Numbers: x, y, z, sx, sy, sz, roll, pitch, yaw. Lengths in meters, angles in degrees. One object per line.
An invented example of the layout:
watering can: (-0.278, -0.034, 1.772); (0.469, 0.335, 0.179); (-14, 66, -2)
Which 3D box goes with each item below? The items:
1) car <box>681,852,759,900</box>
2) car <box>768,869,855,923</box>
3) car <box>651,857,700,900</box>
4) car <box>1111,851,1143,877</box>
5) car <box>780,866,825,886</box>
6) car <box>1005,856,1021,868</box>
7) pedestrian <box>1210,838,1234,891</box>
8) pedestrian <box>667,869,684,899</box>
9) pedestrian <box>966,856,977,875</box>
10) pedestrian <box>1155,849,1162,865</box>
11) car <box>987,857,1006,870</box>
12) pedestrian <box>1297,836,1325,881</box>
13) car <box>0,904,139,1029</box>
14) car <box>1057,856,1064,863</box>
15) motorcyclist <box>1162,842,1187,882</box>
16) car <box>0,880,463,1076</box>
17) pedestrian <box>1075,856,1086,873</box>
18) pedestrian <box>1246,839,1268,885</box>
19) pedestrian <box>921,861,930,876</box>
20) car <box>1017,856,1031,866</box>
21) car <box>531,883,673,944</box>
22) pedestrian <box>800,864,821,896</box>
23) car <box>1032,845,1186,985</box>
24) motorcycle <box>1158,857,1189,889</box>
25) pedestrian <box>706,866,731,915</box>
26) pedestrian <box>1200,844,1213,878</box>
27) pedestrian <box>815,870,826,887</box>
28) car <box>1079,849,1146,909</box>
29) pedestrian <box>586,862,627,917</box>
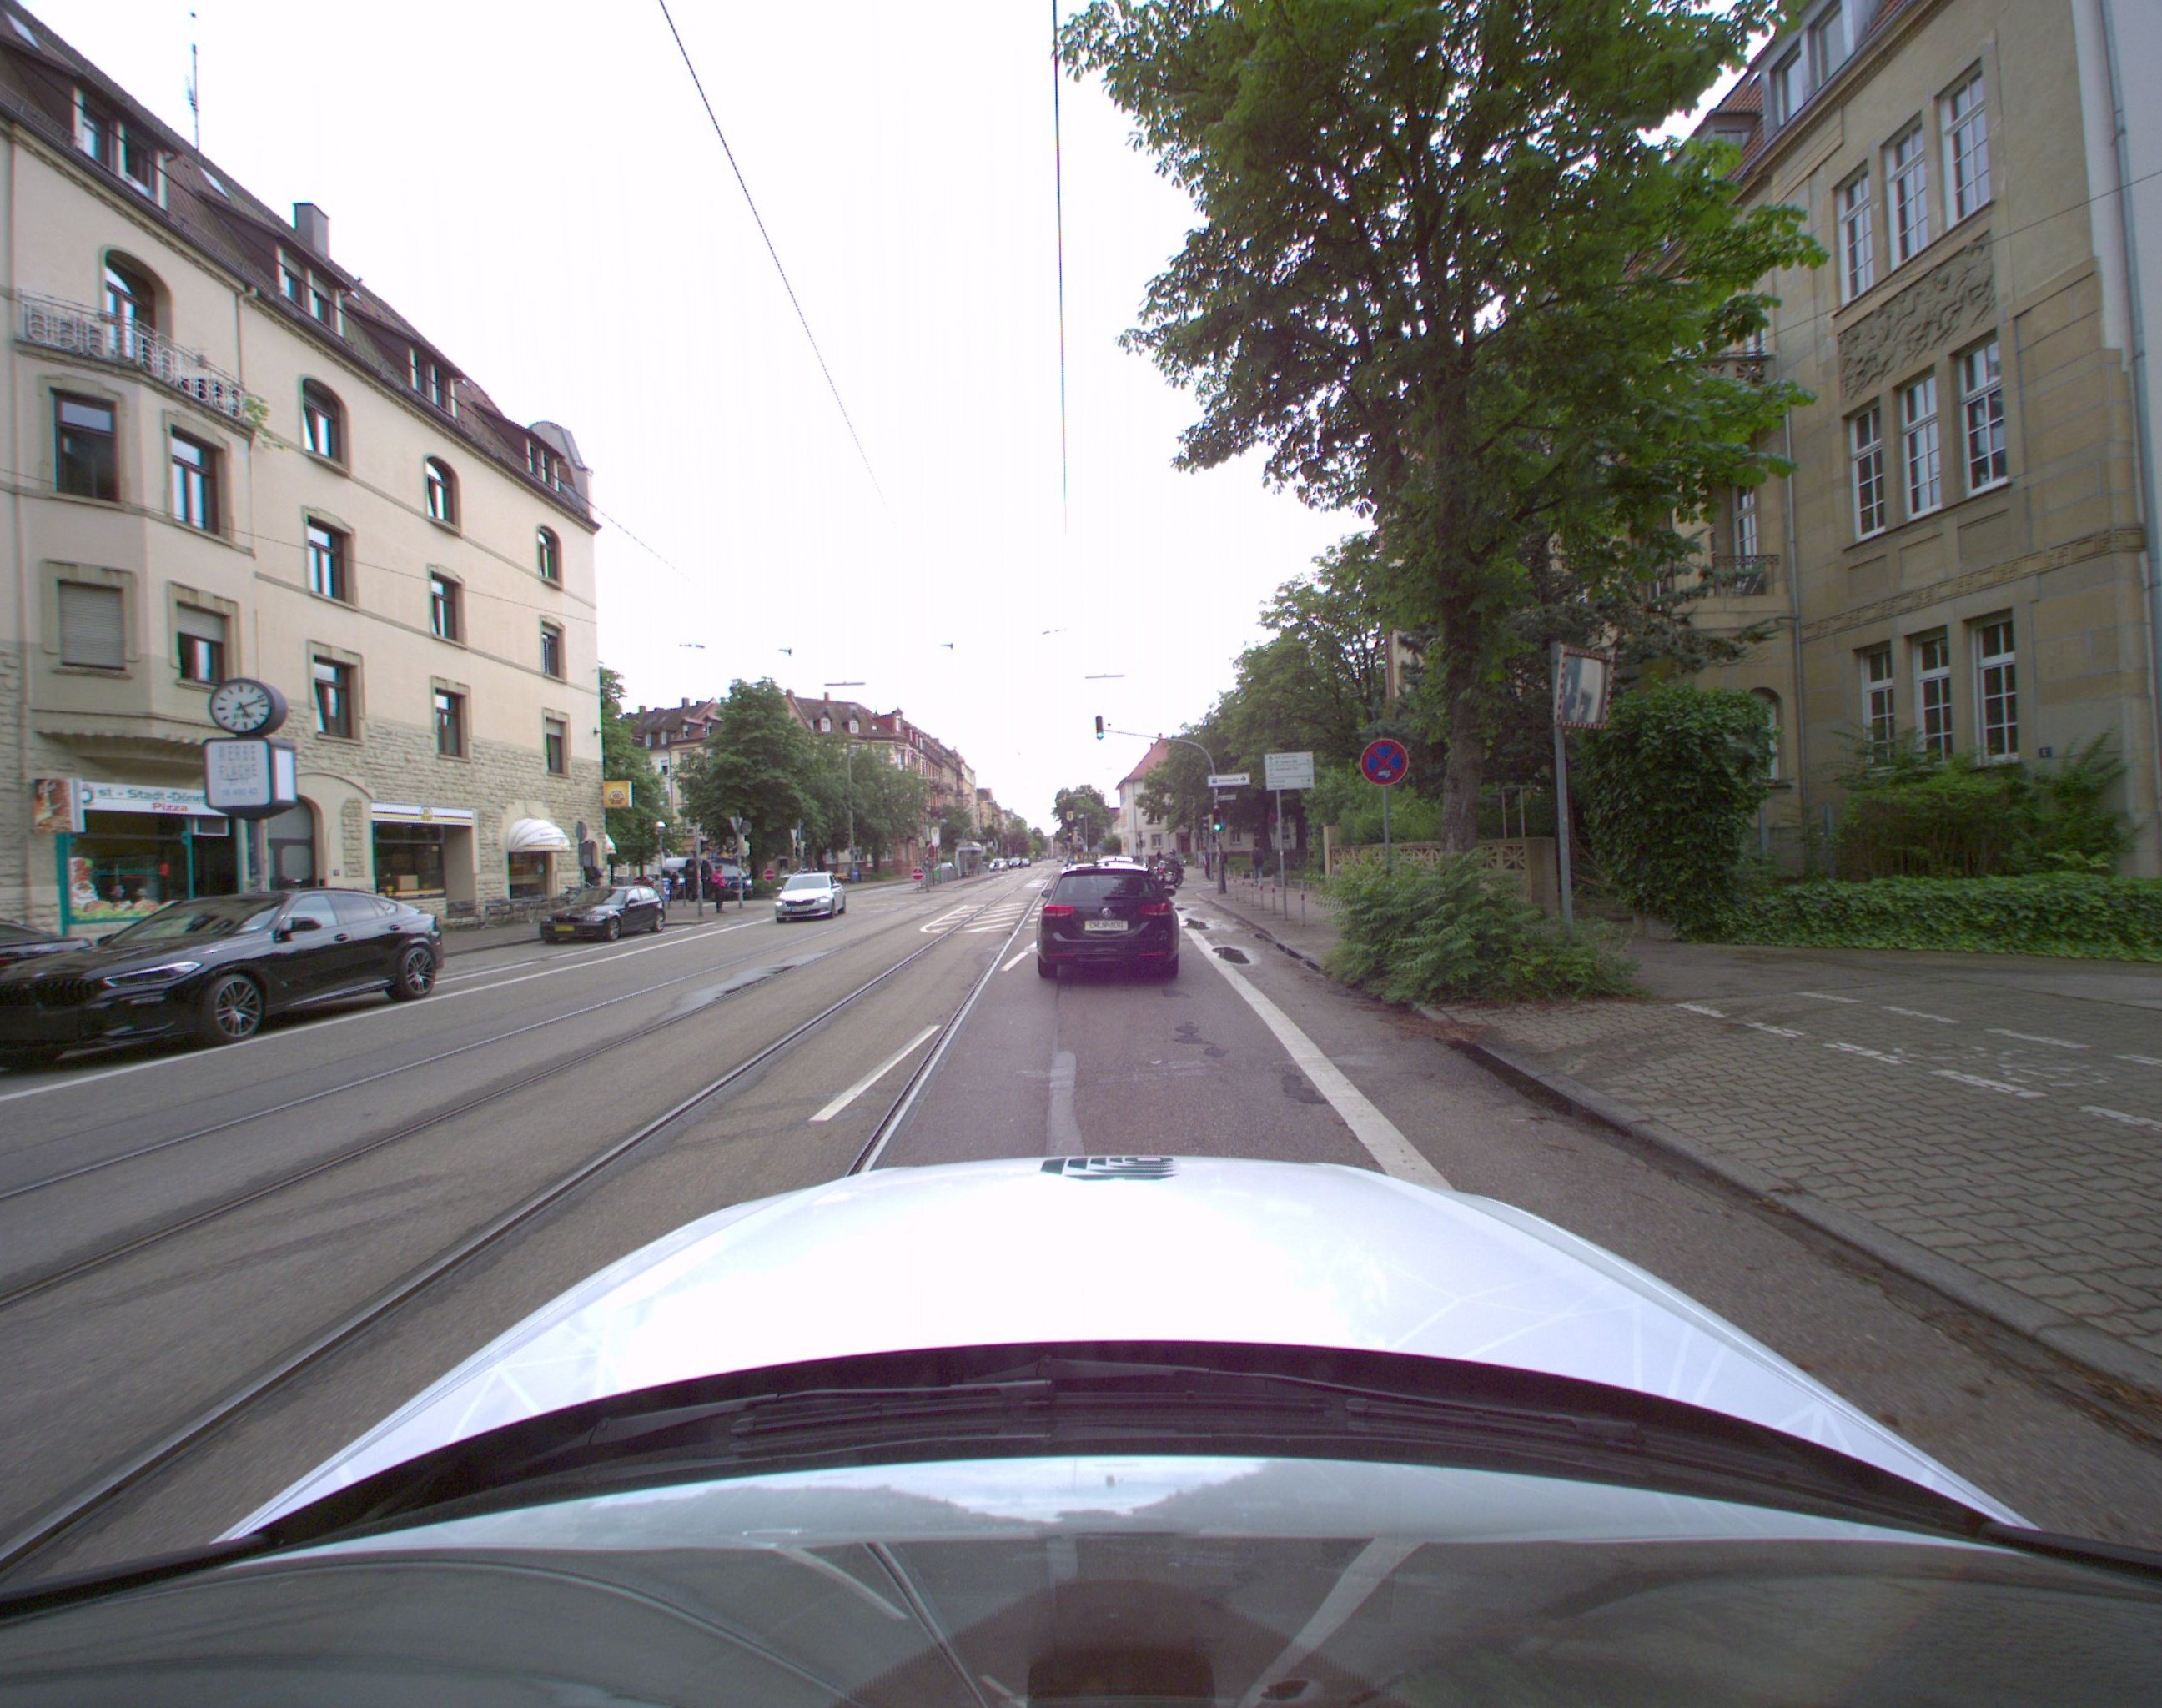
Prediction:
car: (-19.983, 1.241, 44.965); (2.198, 2.417, 5.314); (-3, 0, -43)
car: (-8.430, 1.261, 25.821); (1.687, 1.410, 3.992); (-4, 0, -6)
car: (-26.413, 1.565, 52.899); (2.194, 2.527, 5.324); (-3, 0, -33)
car: (2.930, 0.649, 52.628); (1.718, 1.546, 3.998); (-2, 0, -1)
car: (-26.855, 2.111, 78.490); (3.871, 1.622, 1.712); (-3, 0, -26)
car: (-9.847, 1.168, 118.344); (1.788, 1.596, 4.002); (-3, 0, 2)
pedestrian: (5.133, 0.374, 29.601); (0.583, 1.830, 0.604); (-6, 0, 0)
pedestrian: (-24.092, 1.777, 48.387); (0.704, 1.715, 0.545); (-3, 0, -41)
pedestrian: (-9.141, 0.949, 68.039); (0.712, 1.520, 0.590); (-3, 0, 0)
pedestrian: (7.520, 0.286, 78.649); (0.579, 1.553, 0.610); (-2, 0, 1)
car: (-10.559, 1.173, 101.962); (1.788, 1.596, 4.002); (-3, 0, 2)
pedestrian: (9.484, 0.182, 33.562); (0.656, 1.831, 0.790); (-3, 0, -42)
car: (-14.832, 1.369, 9.825); (4.419, 1.370, 1.877); (0, 0, -6)
car: (-6.099, 1.717, 242.213); (2.027, 2.014, 3.998); (-2, -1, -1)
motorcyclist: (4.040, 0.340, 35.189); (0.696, 1.692, 0.809); (-3, 0, 33)
car: (-10.204, 1.267, 10.089); (1.883, 1.611, 4.871); (-5, 0, -9)
pedestrian: (-0.060, 0.821, 64.206); (0.820, 1.304, 0.568); (-3, 0, -2)
pedestrian: (7.121, 0.306, 32.922); (0.630, 1.815, 0.725); (-3, 0, -3)
pedestrian: (-15.646, 1.480, 81.977); (0.582, 1.520, 0.653); (-3, 0, 34)
car: (-9.489, 1.133, 136.379); (1.788, 1.596, 4.002); (-3, 0, 2)
car: (-13.022, 1.557, 22.457); (1.645, 1.361, 4.125); (0, 0, -3)
pedestrian: (-14.660, 1.400, 44.186); (0.834, 1.663, 0.591); (-3, 0, 0)
car: (0.304, 0.706, 11.432); (1.718, 1.546, 3.998); (-2, 0, -1)
motorcycle: (3.994, 0.805, 35.081); (0.442, 1.235, 1.919); (-3, 0, 34)
pedestrian: (-13.864, 1.385, 31.149); (0.621, 1.842, 0.609); (-3, 0, -3)
pedestrian: (6.900, 0.379, 44.830); (0.513, 1.830, 0.418); (-6, 0, 0)
pedestrian: (-19.232, 1.810, 60.119); (0.591, 1.168, 0.837); (-3, 0, -30)
car: (0.838, 0.667, 24.042); (1.718, 1.546, 3.998); (-2, 0, -1)
pedestrian: (-18.155, 1.355, 31.169); (0.971, 2.013, 0.835); (-3, 0, -1)
